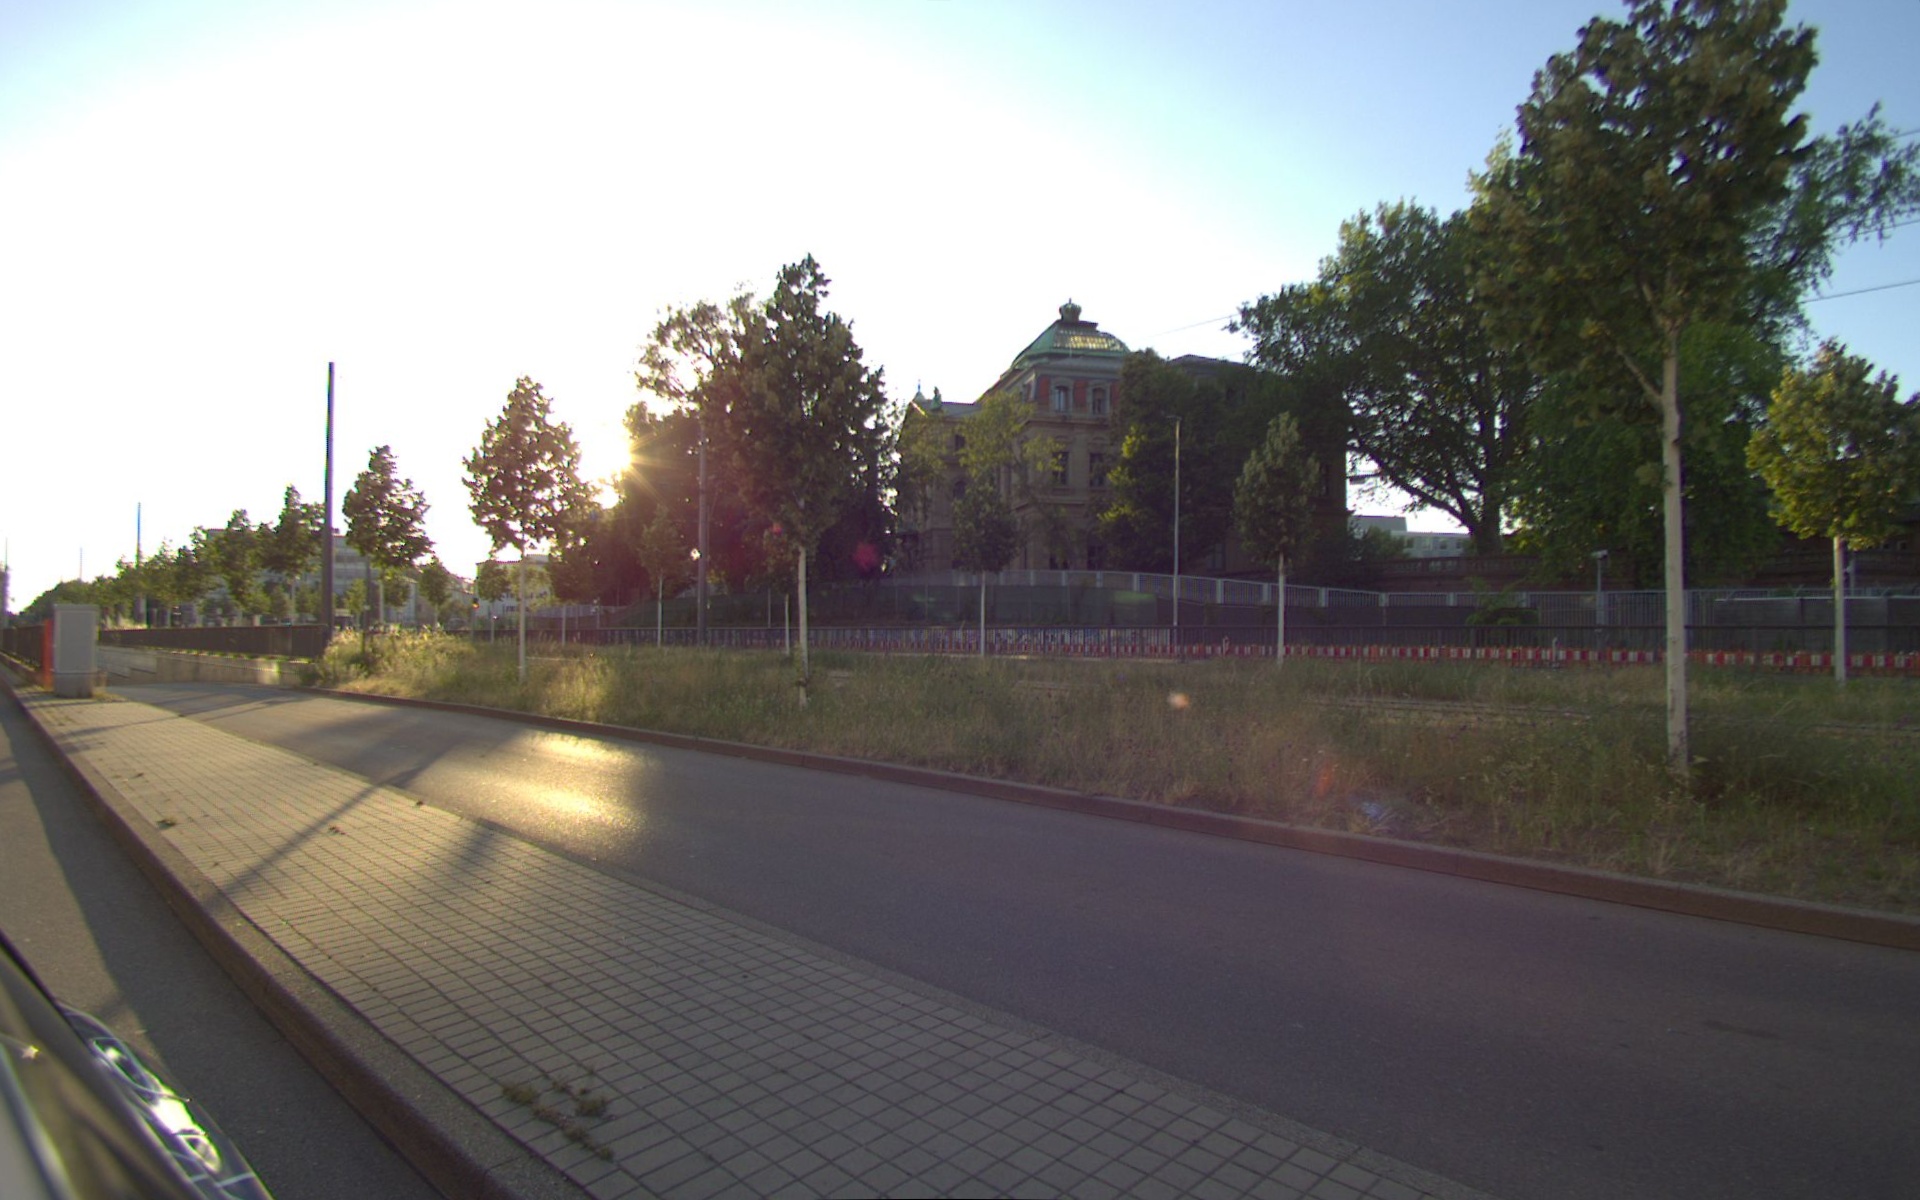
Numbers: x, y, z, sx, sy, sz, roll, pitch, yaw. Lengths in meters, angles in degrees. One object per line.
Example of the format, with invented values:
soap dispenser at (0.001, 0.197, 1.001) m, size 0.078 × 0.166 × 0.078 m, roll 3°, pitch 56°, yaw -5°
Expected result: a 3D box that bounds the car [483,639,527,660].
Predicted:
car at (-36.126, 3.941, 80.330) m, size 1.909 × 1.492 × 4.527 m, roll 0°, pitch -2°, yaw -42°
